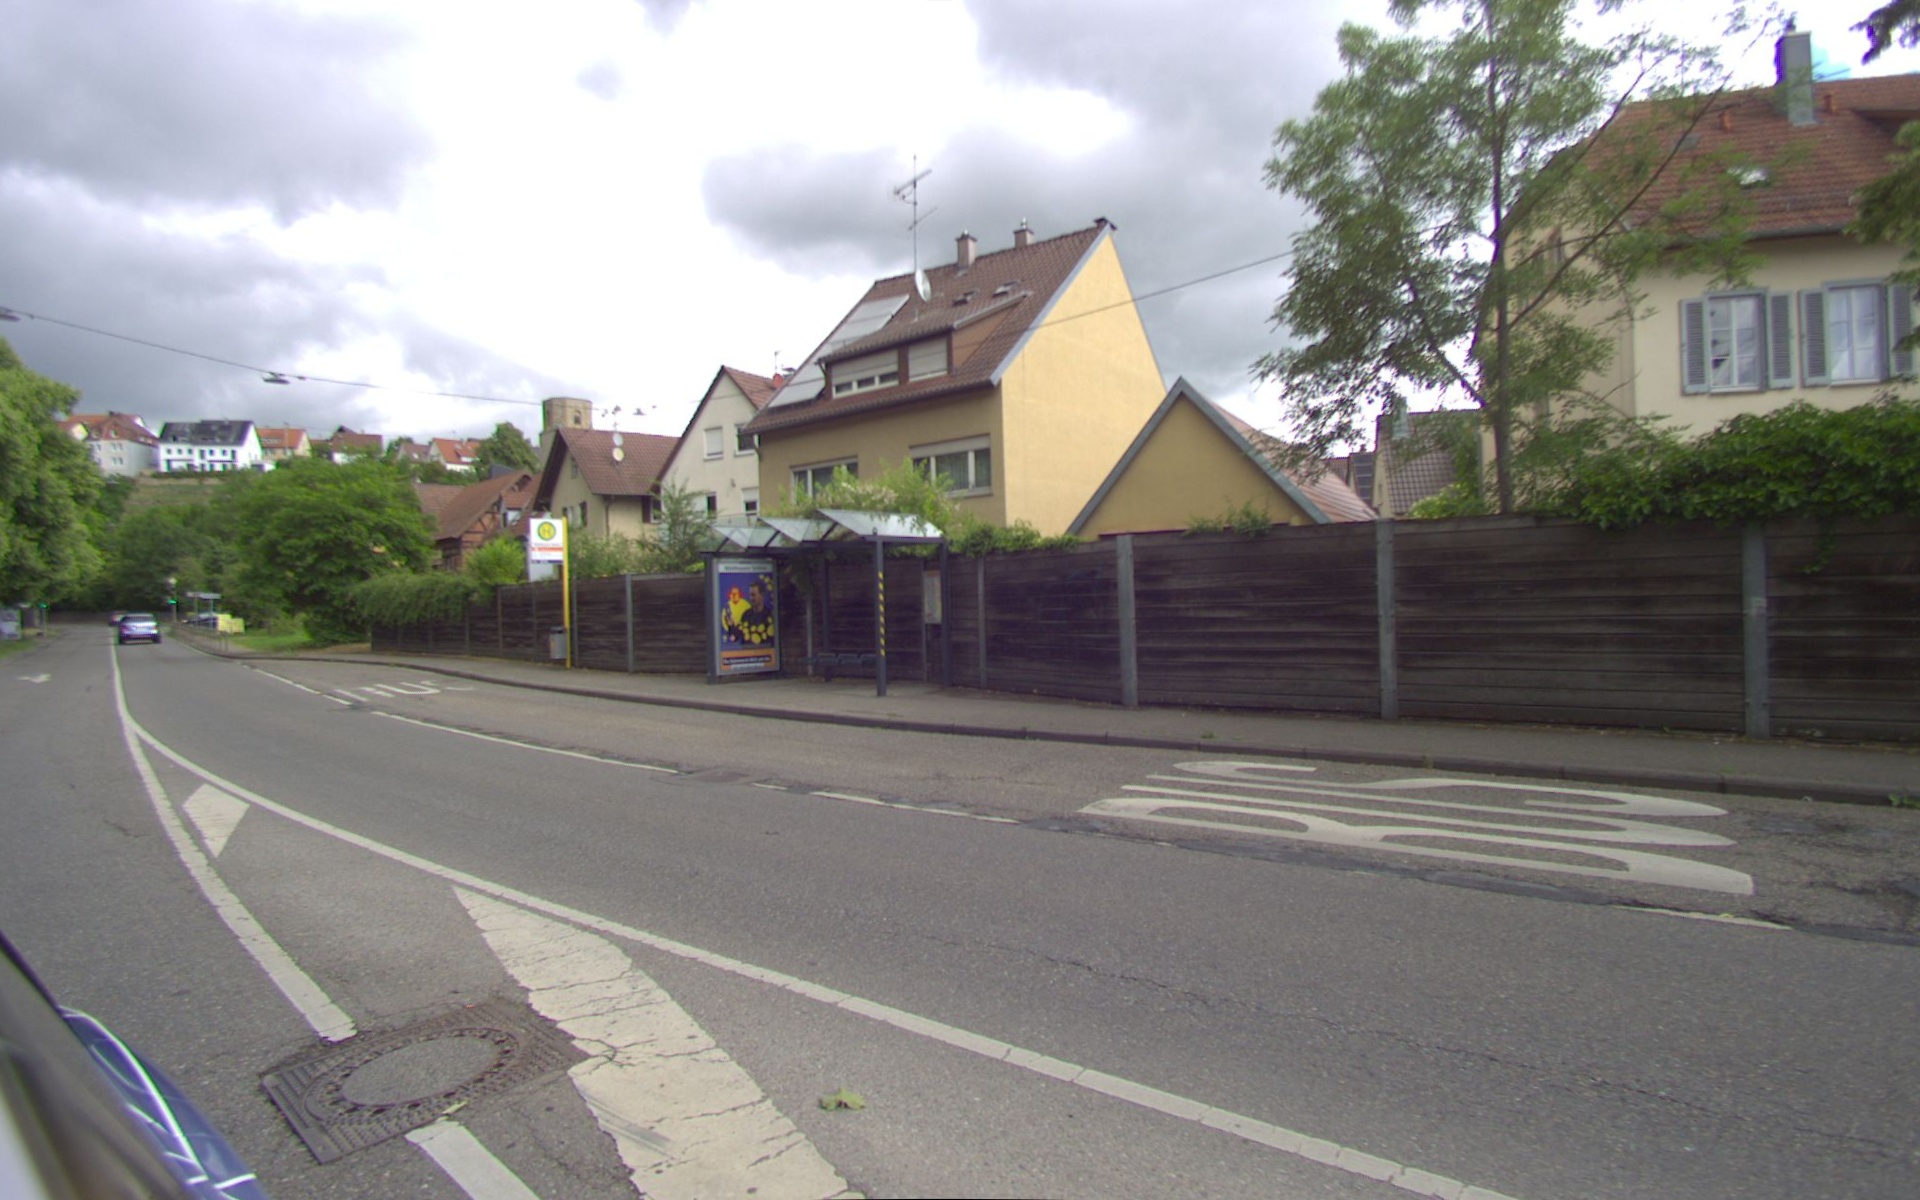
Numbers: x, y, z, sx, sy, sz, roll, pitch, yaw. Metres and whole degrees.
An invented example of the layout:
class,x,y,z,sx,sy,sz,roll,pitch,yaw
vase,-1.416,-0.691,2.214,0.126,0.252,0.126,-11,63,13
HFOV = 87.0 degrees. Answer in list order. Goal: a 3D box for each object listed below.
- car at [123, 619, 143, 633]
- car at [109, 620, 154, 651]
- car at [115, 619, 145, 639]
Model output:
class,x,y,z,sx,sy,sz,roll,pitch,yaw
car,-90.218,2.822,110.409,1.683,1.523,4.006,1,-2,-40
car,-48.795,2.065,59.560,1.911,1.737,4.699,0,-1,-41
car,-65.311,2.308,79.576,1.695,1.480,4.104,0,-2,-41
